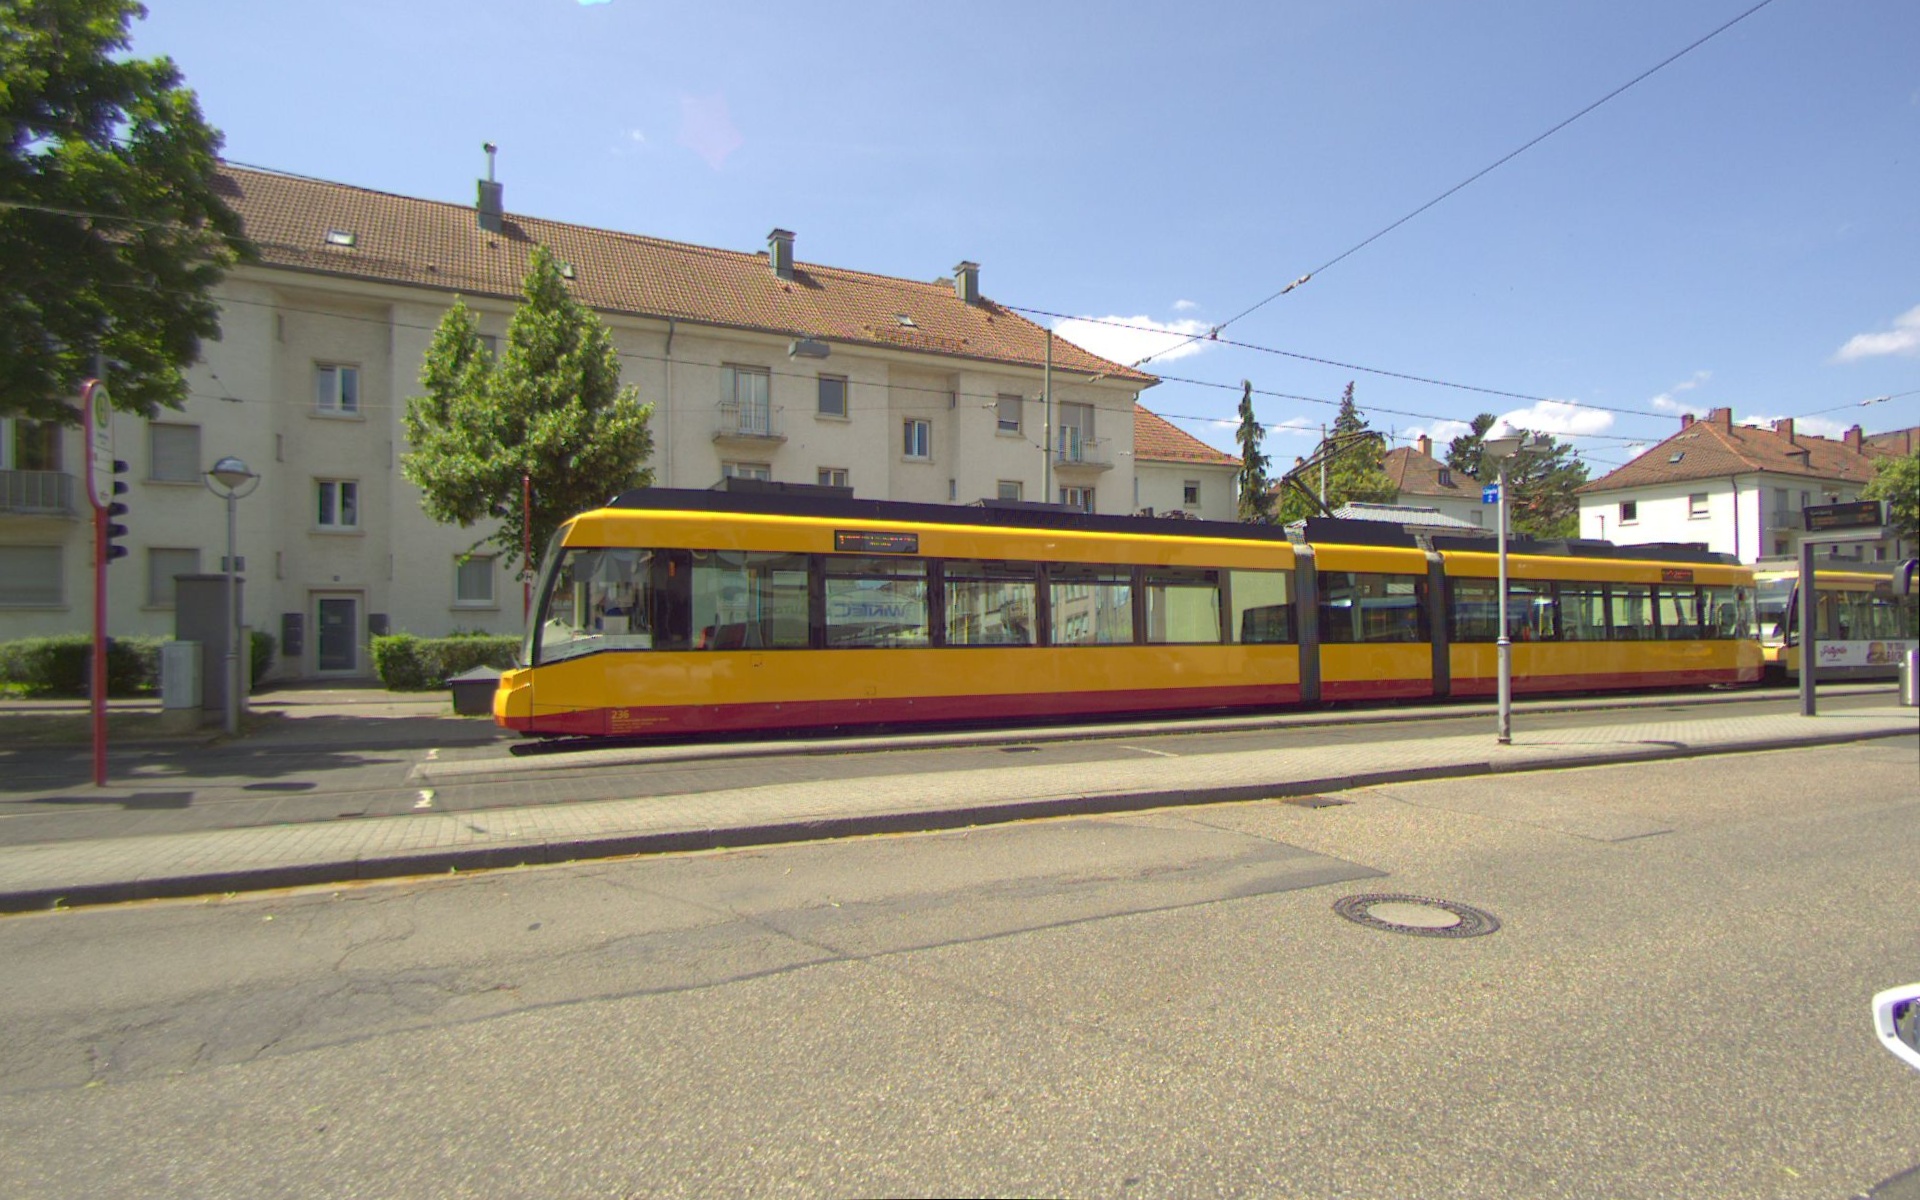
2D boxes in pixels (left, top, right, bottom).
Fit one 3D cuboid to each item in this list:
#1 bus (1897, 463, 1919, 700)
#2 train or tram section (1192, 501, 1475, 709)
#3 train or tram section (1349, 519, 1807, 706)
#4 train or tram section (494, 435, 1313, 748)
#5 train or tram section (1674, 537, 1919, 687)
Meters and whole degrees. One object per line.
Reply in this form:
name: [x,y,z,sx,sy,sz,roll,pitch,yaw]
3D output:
bus: [19.874,-0.071,16.392,11.887,3.472,2.896,2,0,-28]
train or tram section: [7.157,0.167,19.393,4.360,3.541,2.953,1,-2,-27]
train or tram section: [14.625,0.308,23.190,12.494,3.542,2.952,1,0,-27]
train or tram section: [-0.253,-0.017,15.550,12.549,3.542,2.952,1,0,-27]
train or tram section: [27.718,0.400,29.933,17.128,3.691,2.952,1,0,-27]
